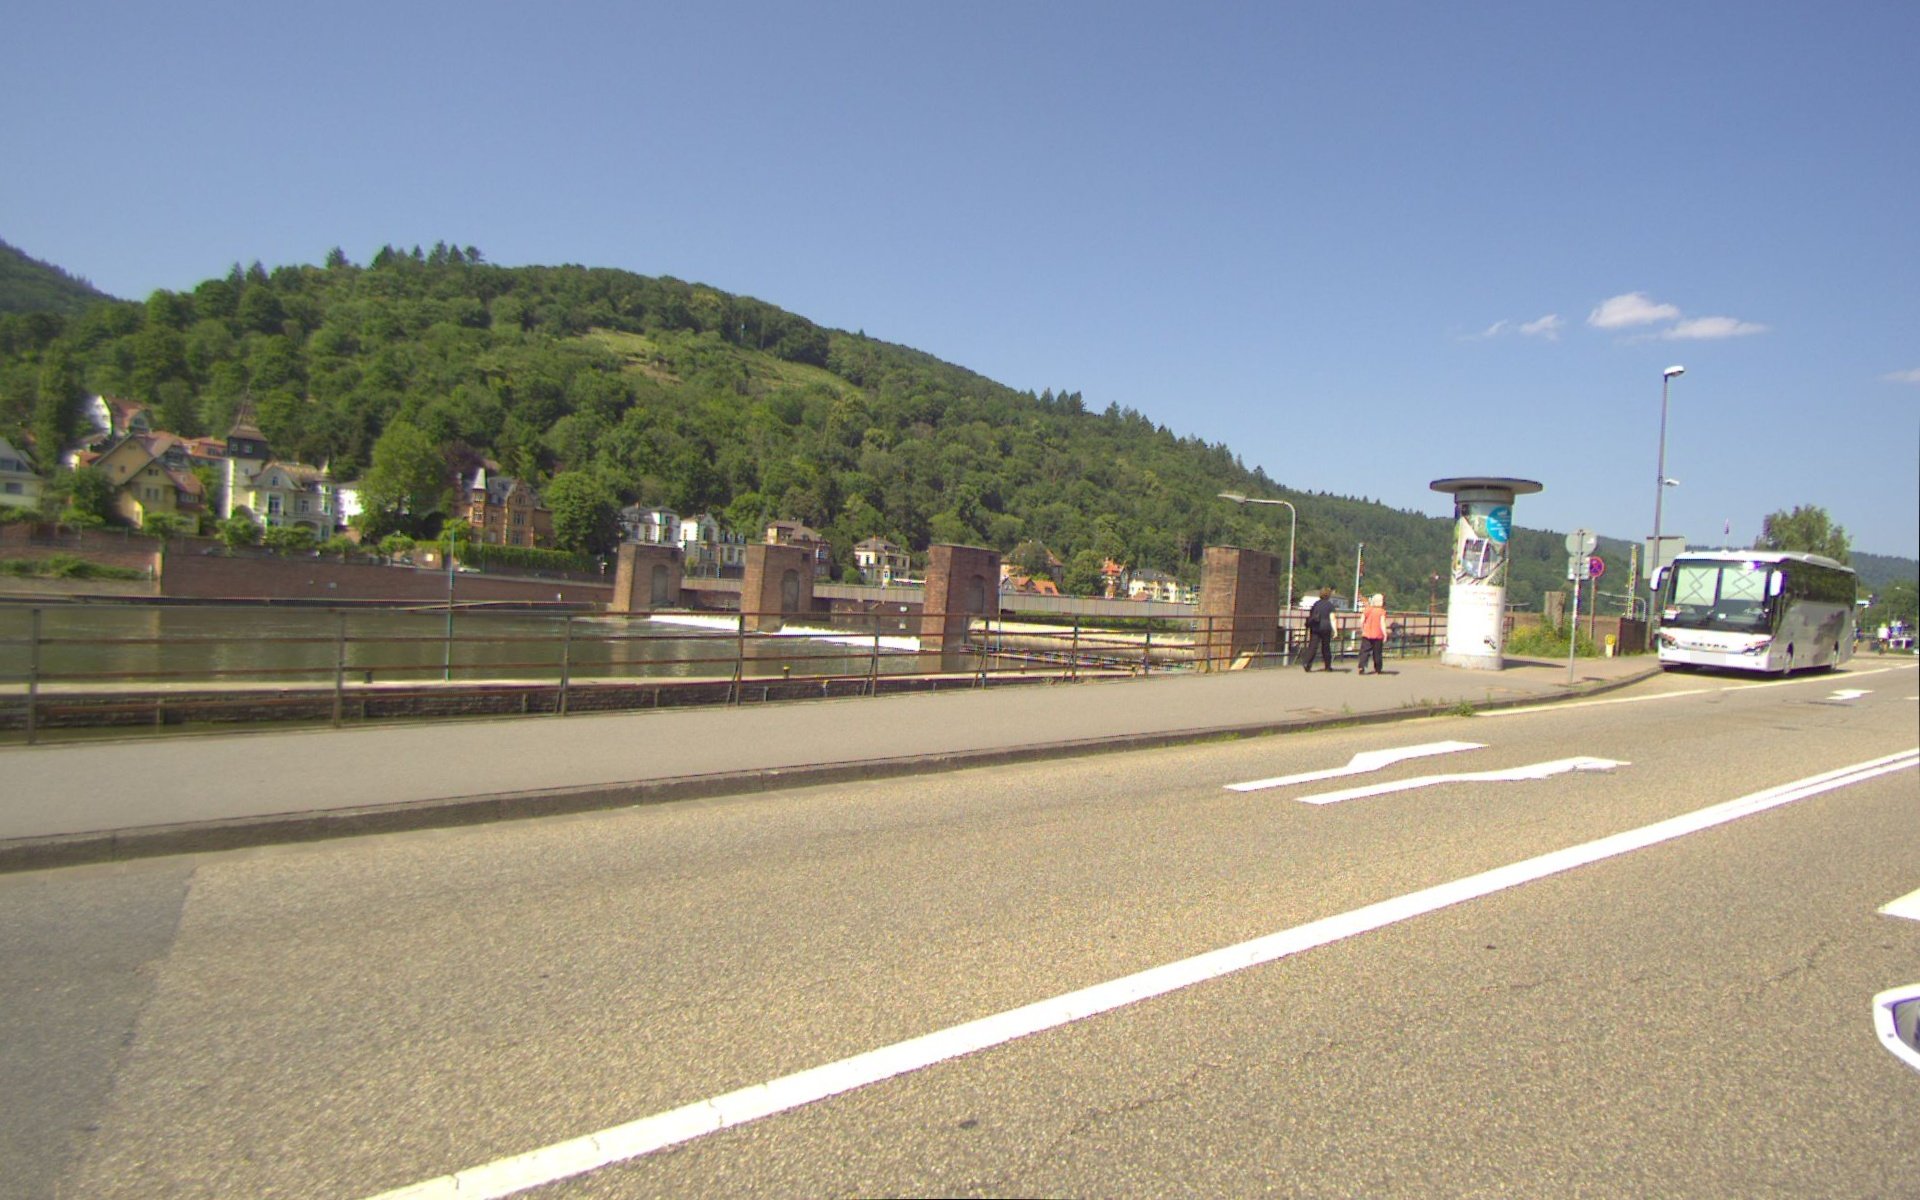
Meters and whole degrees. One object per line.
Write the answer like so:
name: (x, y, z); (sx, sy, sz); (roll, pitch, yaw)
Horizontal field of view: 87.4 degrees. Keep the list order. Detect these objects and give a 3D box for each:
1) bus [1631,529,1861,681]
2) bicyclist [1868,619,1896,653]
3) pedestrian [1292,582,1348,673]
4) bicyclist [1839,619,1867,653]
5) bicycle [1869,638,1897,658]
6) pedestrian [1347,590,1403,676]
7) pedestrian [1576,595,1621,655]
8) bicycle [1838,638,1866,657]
bus: (24.938, 0.222, 31.413); (13.140, 3.851, 2.930); (2, 3, -41)
bicyclist: (56.847, 2.189, 61.923); (1.199, 2.040, 1.112); (1, 0, 44)
pedestrian: (7.065, 0.536, 19.699); (0.767, 1.732, 0.677); (2, 1, -40)
bicyclist: (54.817, 2.203, 61.675); (1.199, 2.040, 1.112); (1, 0, 44)
bicycle: (56.803, 2.937, 61.804); (1.199, 1.105, 2.582); (1, 0, 44)
pedestrian: (8.182, 0.639, 19.816); (0.811, 1.642, 0.695); (2, 1, -44)
pedestrian: (20.159, 0.796, 31.710); (1.033, 1.820, 0.884); (2, 0, -41)
bicycle: (54.822, 2.912, 61.706); (1.200, 1.105, 2.582); (1, -1, 44)
